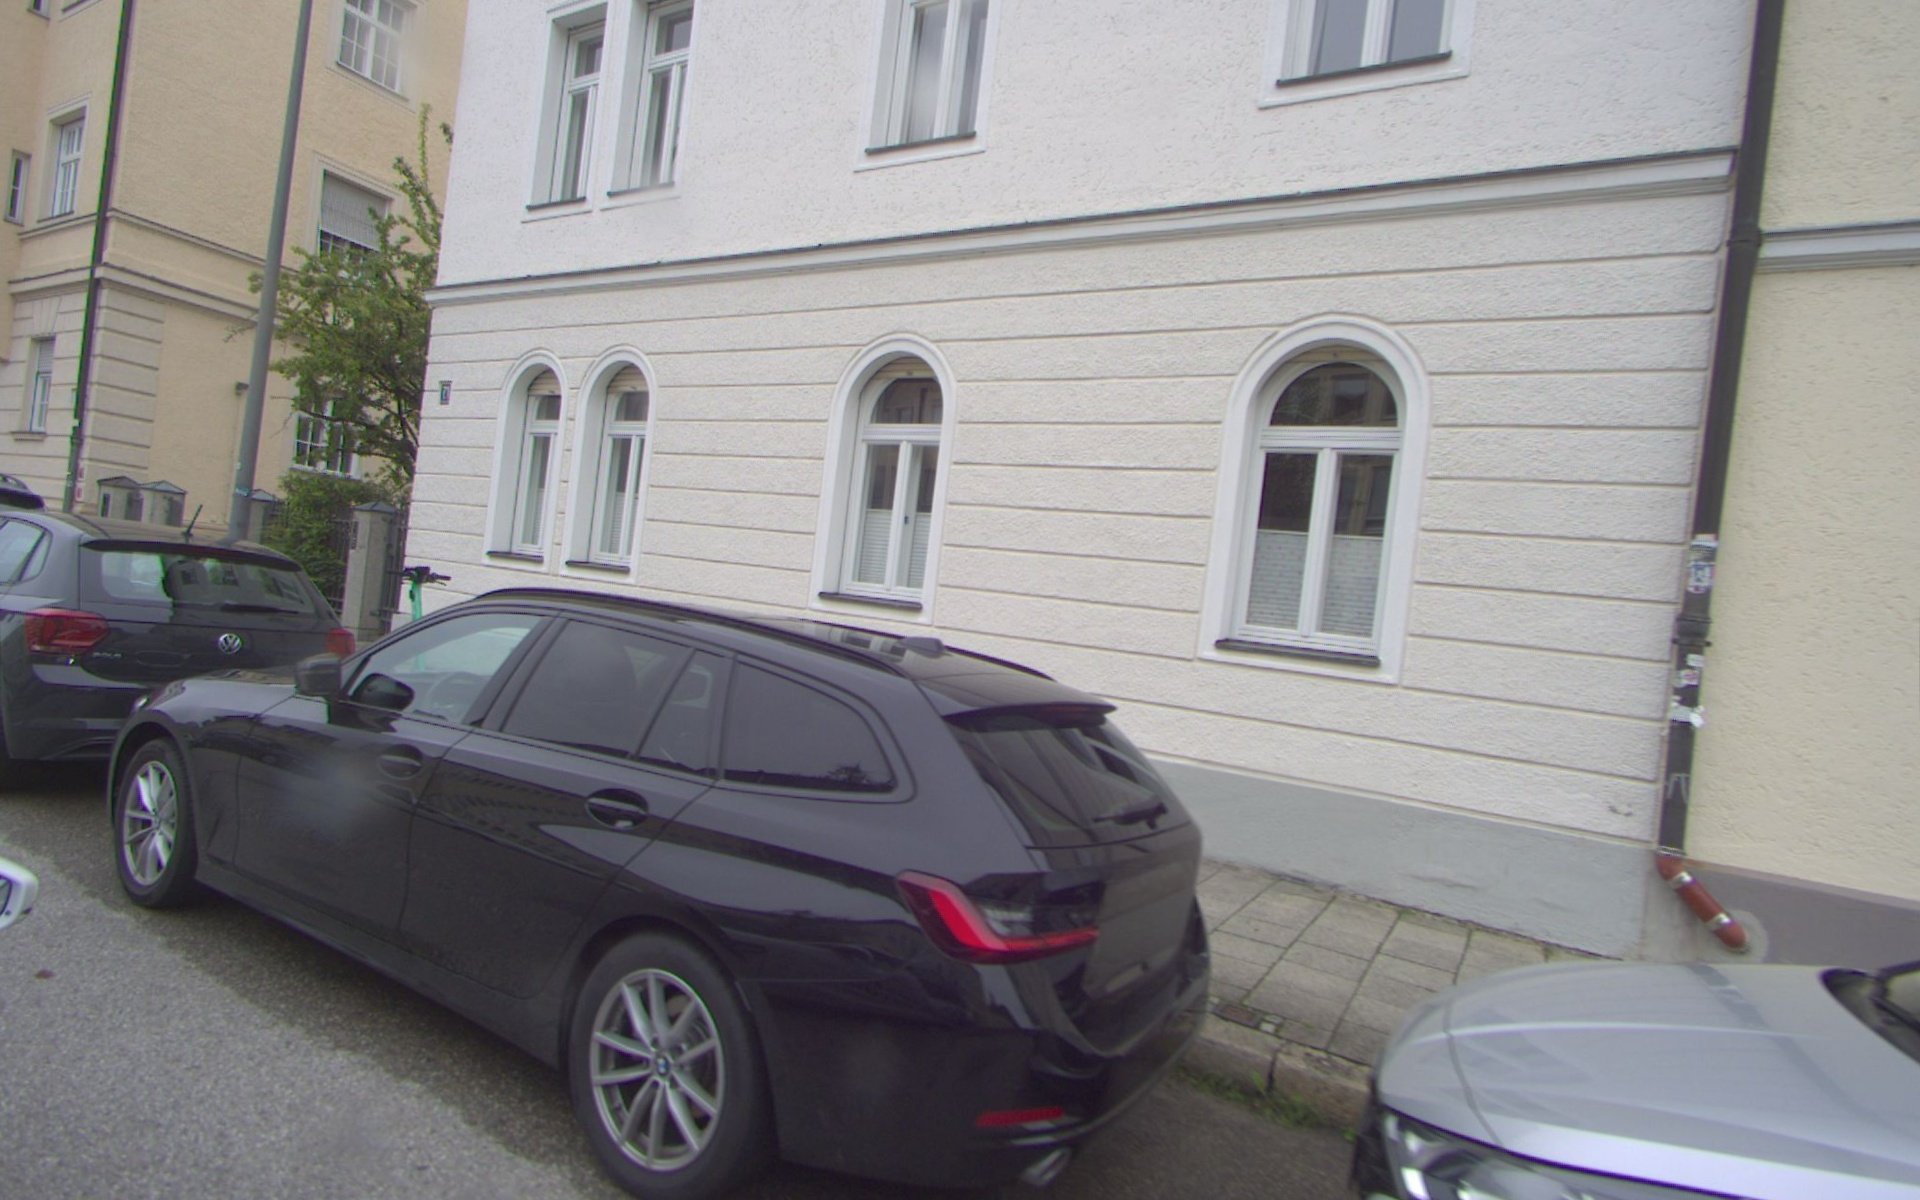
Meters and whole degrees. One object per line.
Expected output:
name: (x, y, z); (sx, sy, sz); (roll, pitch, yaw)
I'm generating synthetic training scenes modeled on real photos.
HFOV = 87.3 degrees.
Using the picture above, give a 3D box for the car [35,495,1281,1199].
car: (-1.392, 0.621, 3.897); (4.599, 1.467, 1.879); (7, -1, 31)

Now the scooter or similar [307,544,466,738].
scooter or similar: (-4.167, 0.283, 7.299); (1.030, 1.245, 0.428); (7, 0, 31)

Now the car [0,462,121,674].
car: (-9.699, -0.503, 8.983); (4.421, 1.683, 1.850); (7, -1, 30)

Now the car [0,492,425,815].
car: (-5.574, 0.140, 6.487); (4.015, 1.467, 1.831); (7, -1, 31)

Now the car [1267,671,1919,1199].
car: (2.730, 1.156, 1.448); (4.116, 1.467, 1.728); (7, -1, 30)
